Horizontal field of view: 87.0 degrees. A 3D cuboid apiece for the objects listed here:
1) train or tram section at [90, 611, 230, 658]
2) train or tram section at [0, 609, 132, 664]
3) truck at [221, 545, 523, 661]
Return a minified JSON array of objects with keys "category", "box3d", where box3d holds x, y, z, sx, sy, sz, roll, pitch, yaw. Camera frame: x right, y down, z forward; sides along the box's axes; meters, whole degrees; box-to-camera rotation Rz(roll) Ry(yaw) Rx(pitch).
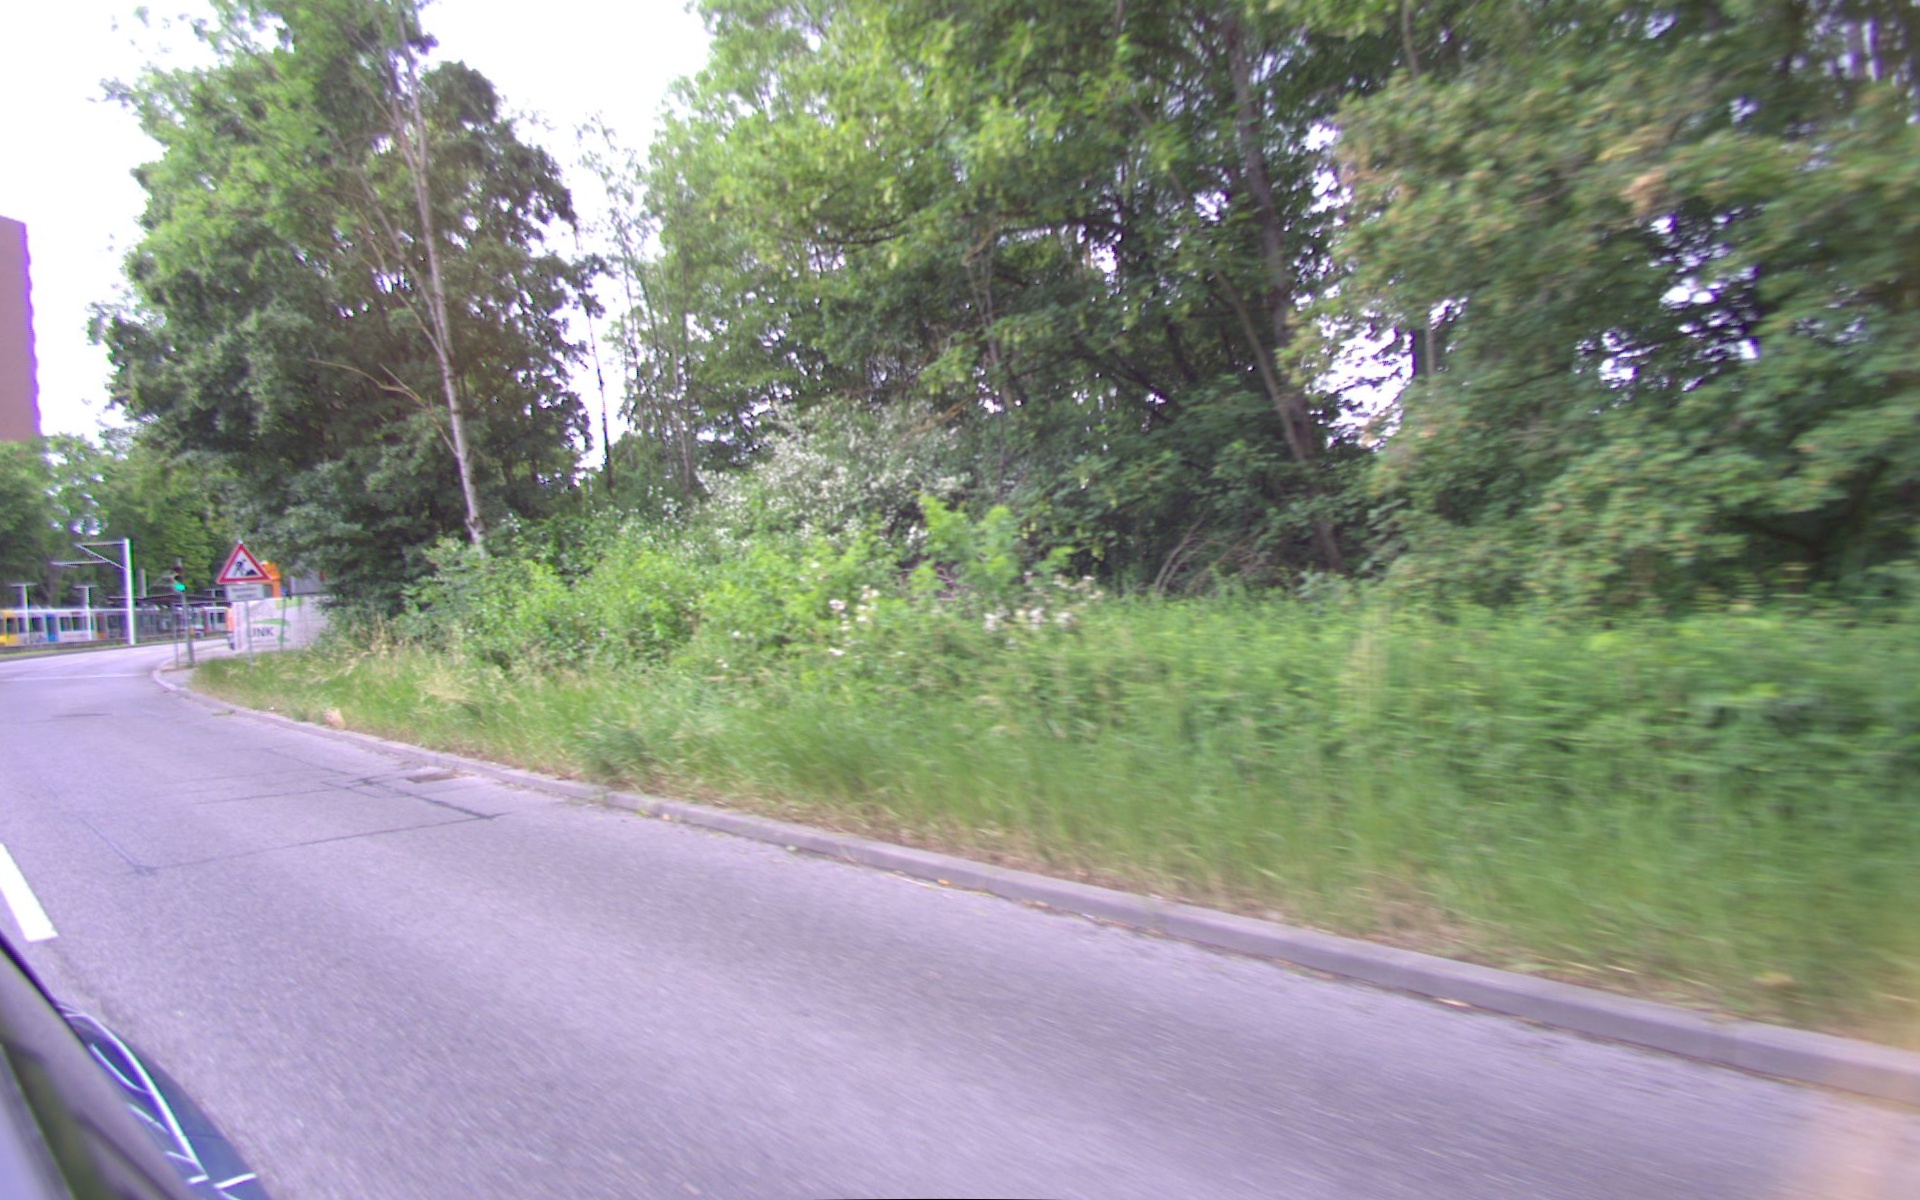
[{"category":"train or tram section","box3d":[-75.089,3.014,95.829,2.776,3.764,18.582,-5,1,-14]},{"category":"train or tram section","box3d":[-69.980,2.729,77.594,2.775,3.826,18.990,-5,1,-17]},{"category":"truck","box3d":[-21.128,-0.018,36.809,9.111,3.557,2.571,-4,2,-36]}]
